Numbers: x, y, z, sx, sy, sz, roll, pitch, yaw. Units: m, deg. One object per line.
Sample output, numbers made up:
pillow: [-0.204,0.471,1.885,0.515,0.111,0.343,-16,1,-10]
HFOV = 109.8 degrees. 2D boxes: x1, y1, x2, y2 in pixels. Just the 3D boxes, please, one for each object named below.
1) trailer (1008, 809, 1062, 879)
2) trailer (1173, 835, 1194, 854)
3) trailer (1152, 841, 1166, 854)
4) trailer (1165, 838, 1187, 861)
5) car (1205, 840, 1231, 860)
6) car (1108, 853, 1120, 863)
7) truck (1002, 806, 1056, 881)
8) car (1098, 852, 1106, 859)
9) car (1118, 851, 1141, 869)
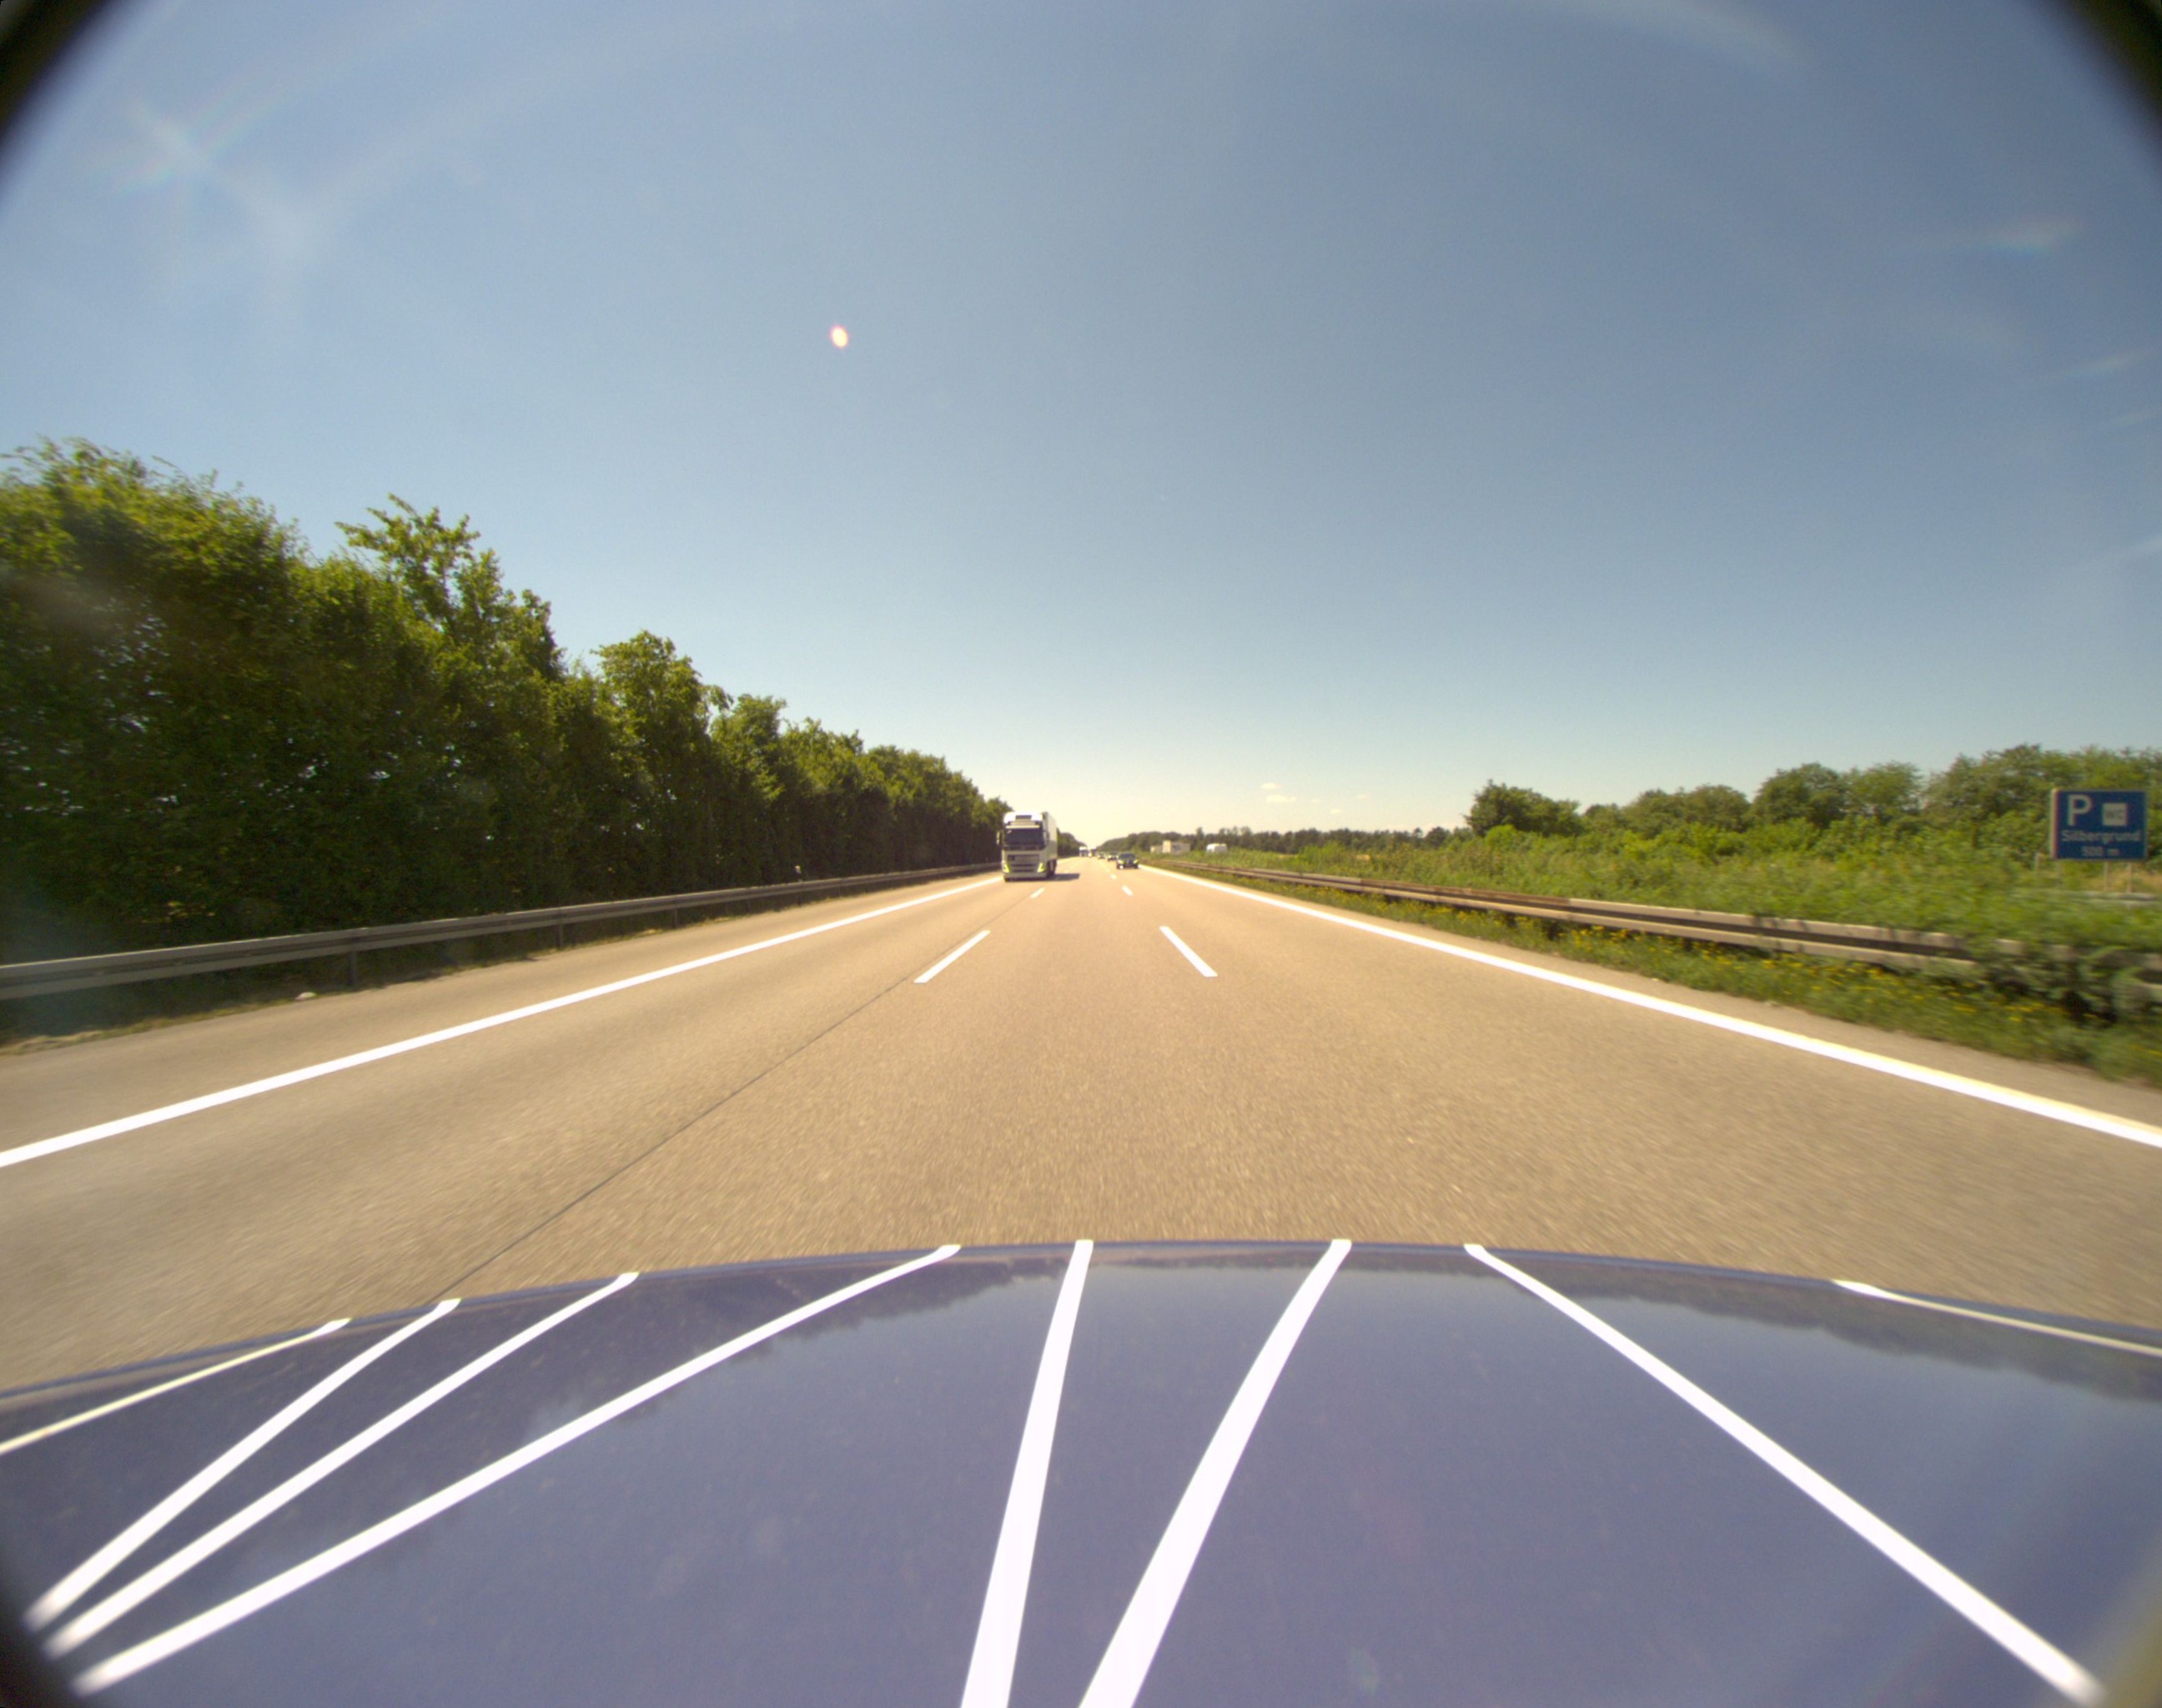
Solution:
trailer: [-2.887,-0.676,51.825,2.476,4.038,13.879,-2,1,1]
trailer: [23.409,-2.075,174.422,2.962,4.035,14.324,-2,1,1]
trailer: [25.006,-2.042,243.981,3.066,4.035,13.955,-2,1,1]
trailer: [19.147,-0.925,153.556,2.828,4.500,13.865,-2,1,1]
car: [17.428,-0.529,97.078,2.085,2.380,6.732,-2,1,0]
car: [5.456,0.624,124.710,1.811,1.417,4.000,-2,1,1]
truck: [-2.998,-0.608,45.409,2.476,4.039,6.319,-2,1,1]
car: [4.872,0.292,176.143,1.811,1.417,4.000,-2,1,1]
car: [4.285,0.511,67.783,1.811,1.459,4.000,-2,1,1]
